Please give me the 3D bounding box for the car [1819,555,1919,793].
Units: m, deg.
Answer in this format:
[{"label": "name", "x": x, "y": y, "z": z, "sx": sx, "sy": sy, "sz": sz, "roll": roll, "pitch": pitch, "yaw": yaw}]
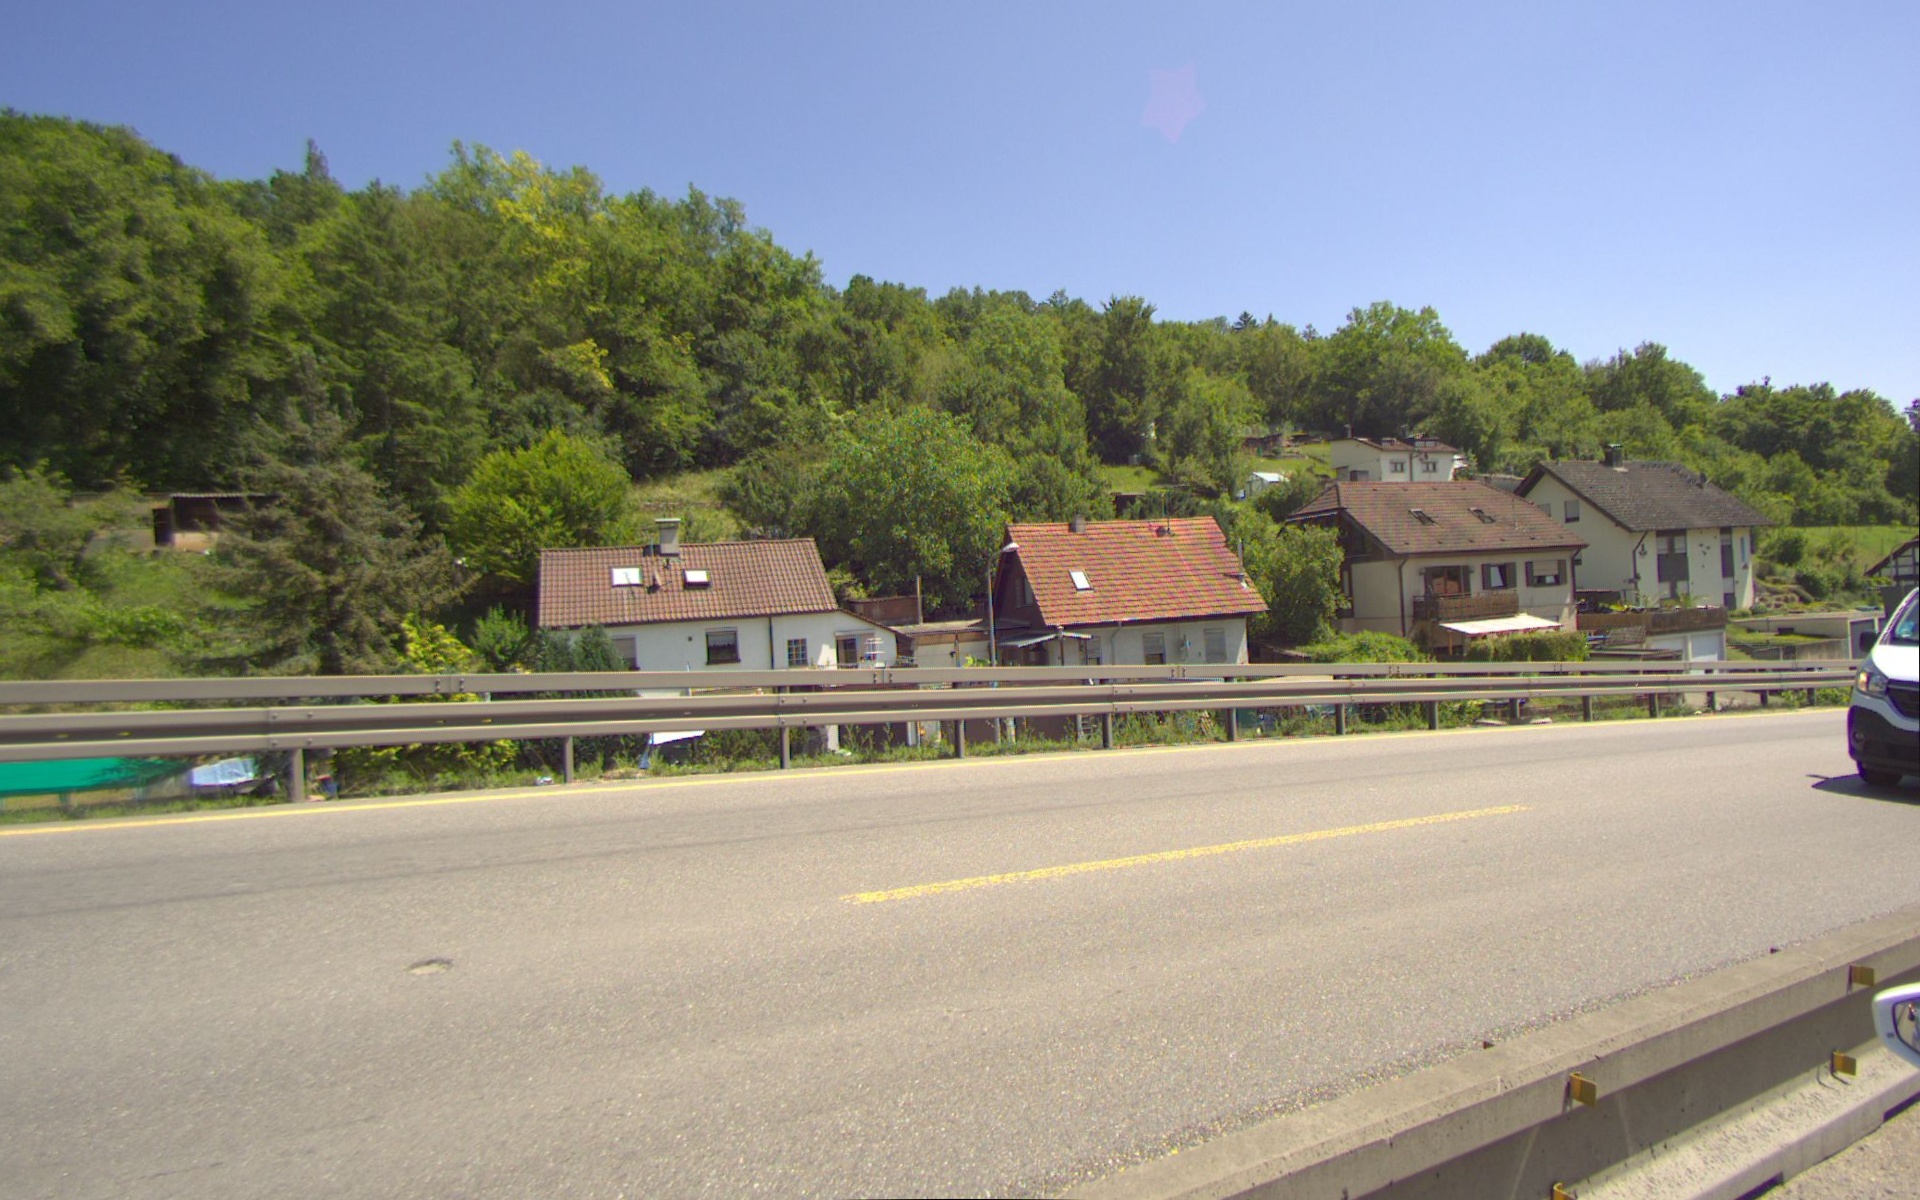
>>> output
[{"label": "car", "x": 10.449, "y": 0.700, "z": 9.587, "sx": 4.801, "sy": 2.037, "sz": 1.984, "roll": 2, "pitch": -2, "yaw": -30}]
